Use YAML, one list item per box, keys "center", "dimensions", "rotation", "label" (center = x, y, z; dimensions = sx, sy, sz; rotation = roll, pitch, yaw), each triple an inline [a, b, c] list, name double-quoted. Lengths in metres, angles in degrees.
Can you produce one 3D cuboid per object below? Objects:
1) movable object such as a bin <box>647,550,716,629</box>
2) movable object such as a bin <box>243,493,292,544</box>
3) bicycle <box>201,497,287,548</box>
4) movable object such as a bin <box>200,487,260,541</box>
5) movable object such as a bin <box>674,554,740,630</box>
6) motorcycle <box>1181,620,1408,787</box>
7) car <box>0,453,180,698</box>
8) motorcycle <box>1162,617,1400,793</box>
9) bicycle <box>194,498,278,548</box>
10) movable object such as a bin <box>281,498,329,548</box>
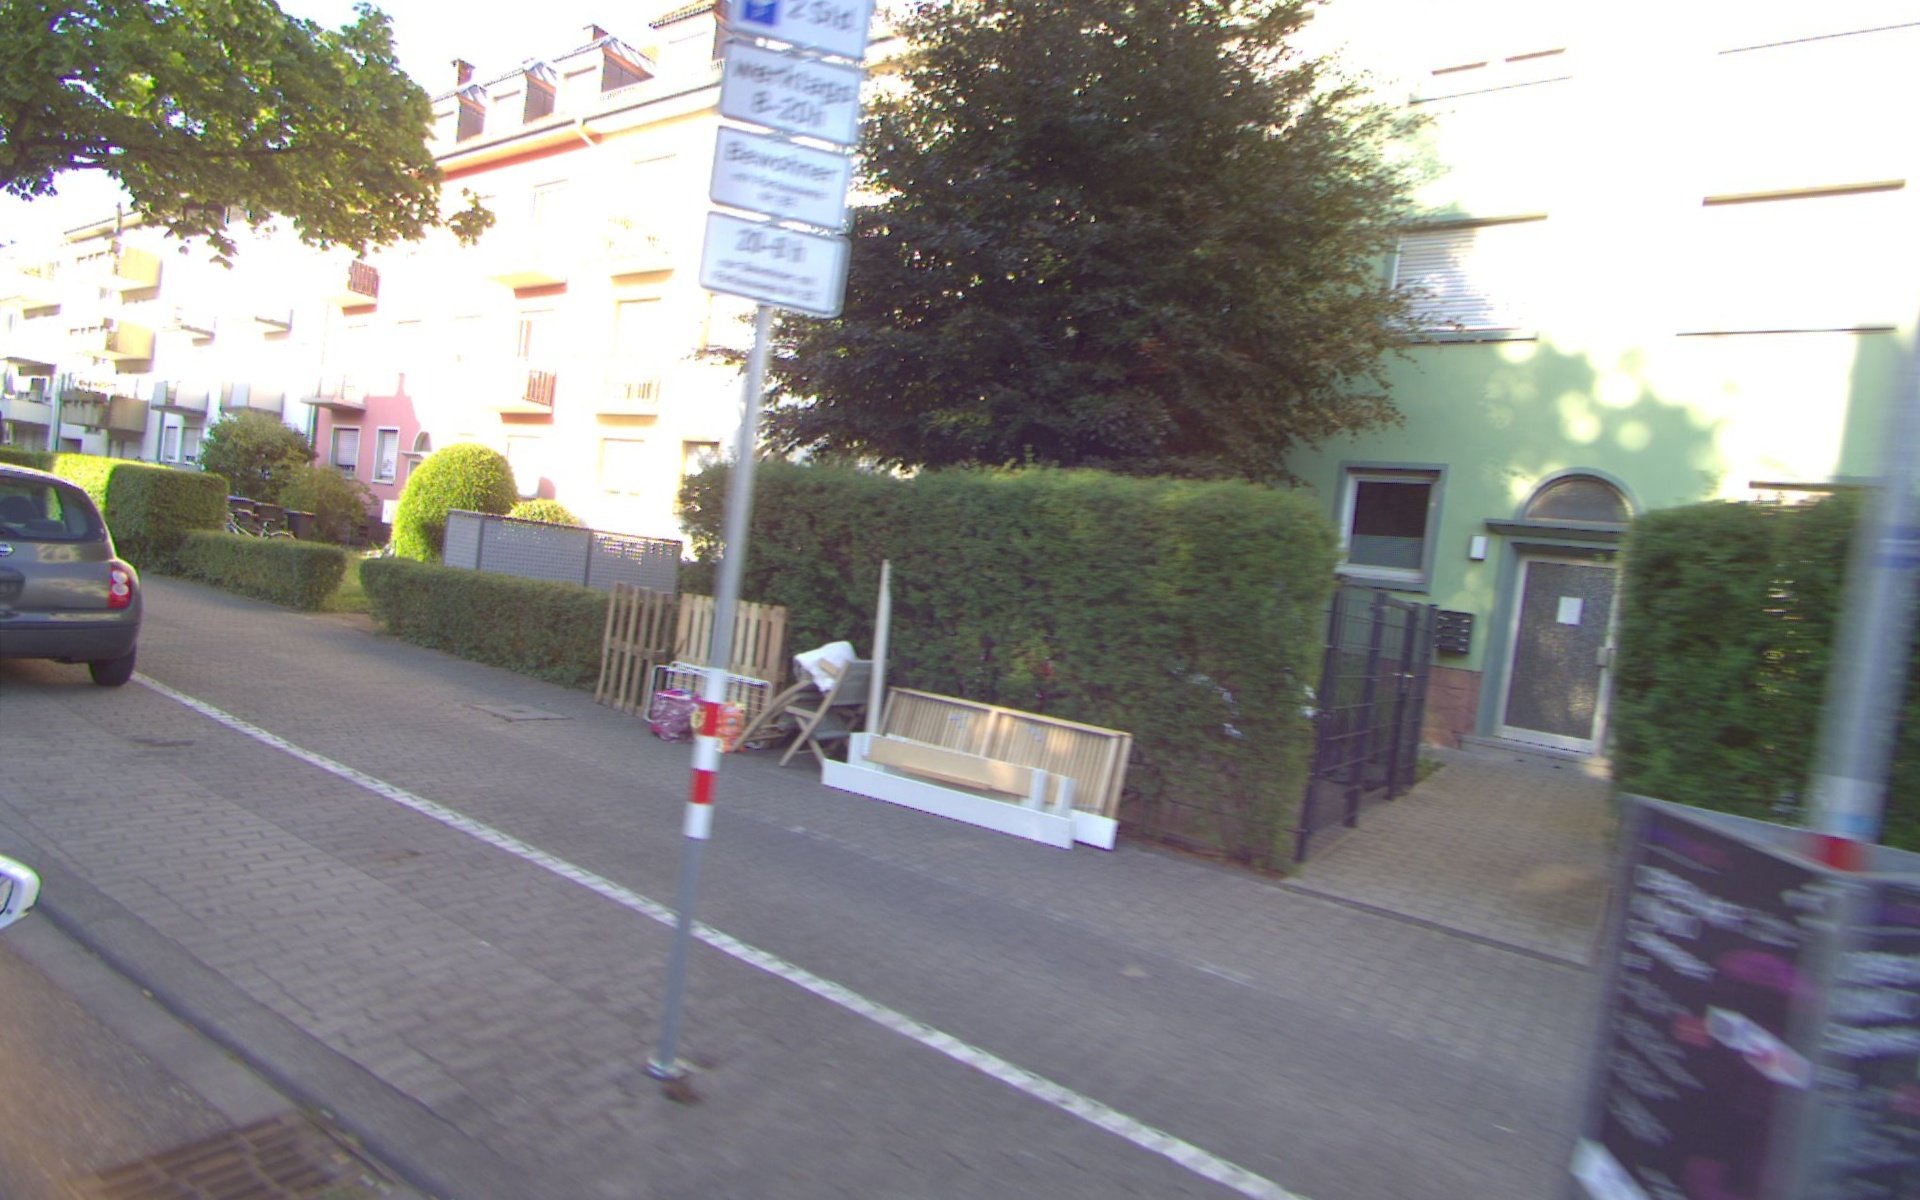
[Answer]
- center: [-4.461, -0.165, 16.111]
  dimensions: [0.815, 1.138, 0.553]
  rotation: [9, 3, 35]
  label: "movable object such as a bin"
- center: [-15.581, -1.831, 22.640]
  dimensions: [0.783, 1.015, 0.611]
  rotation: [9, 2, 34]
  label: "movable object such as a bin"
- center: [-15.102, -1.625, 21.247]
  dimensions: [0.363, 0.865, 1.370]
  rotation: [9, 2, 36]
  label: "bicycle"
- center: [-15.983, -1.876, 22.036]
  dimensions: [0.783, 1.015, 0.776]
  rotation: [9, 2, 34]
  label: "movable object such as a bin"
- center: [-4.178, -0.135, 16.607]
  dimensions: [0.815, 1.138, 0.553]
  rotation: [9, 3, 35]
  label: "movable object such as a bin"
- center: [3.237, 0.961, 9.858]
  dimensions: [1.912, 1.273, 0.494]
  rotation: [9, 3, 34]
  label: "motorcycle"
- center: [-7.618, -0.359, 7.554]
  dimensions: [3.588, 1.571, 1.732]
  rotation: [9, 2, 35]
  label: "car"
- center: [2.959, 0.931, 9.412]
  dimensions: [1.912, 1.273, 0.494]
  rotation: [9, 3, 34]
  label: "motorcycle"
- center: [-15.464, -1.639, 21.516]
  dimensions: [0.359, 0.865, 1.359]
  rotation: [9, 2, 35]
  label: "bicycle"
- center: [-15.167, -1.786, 23.280]
  dimensions: [0.783, 1.015, 0.611]
  rotation: [9, 2, 34]
  label: "movable object such as a bin"
